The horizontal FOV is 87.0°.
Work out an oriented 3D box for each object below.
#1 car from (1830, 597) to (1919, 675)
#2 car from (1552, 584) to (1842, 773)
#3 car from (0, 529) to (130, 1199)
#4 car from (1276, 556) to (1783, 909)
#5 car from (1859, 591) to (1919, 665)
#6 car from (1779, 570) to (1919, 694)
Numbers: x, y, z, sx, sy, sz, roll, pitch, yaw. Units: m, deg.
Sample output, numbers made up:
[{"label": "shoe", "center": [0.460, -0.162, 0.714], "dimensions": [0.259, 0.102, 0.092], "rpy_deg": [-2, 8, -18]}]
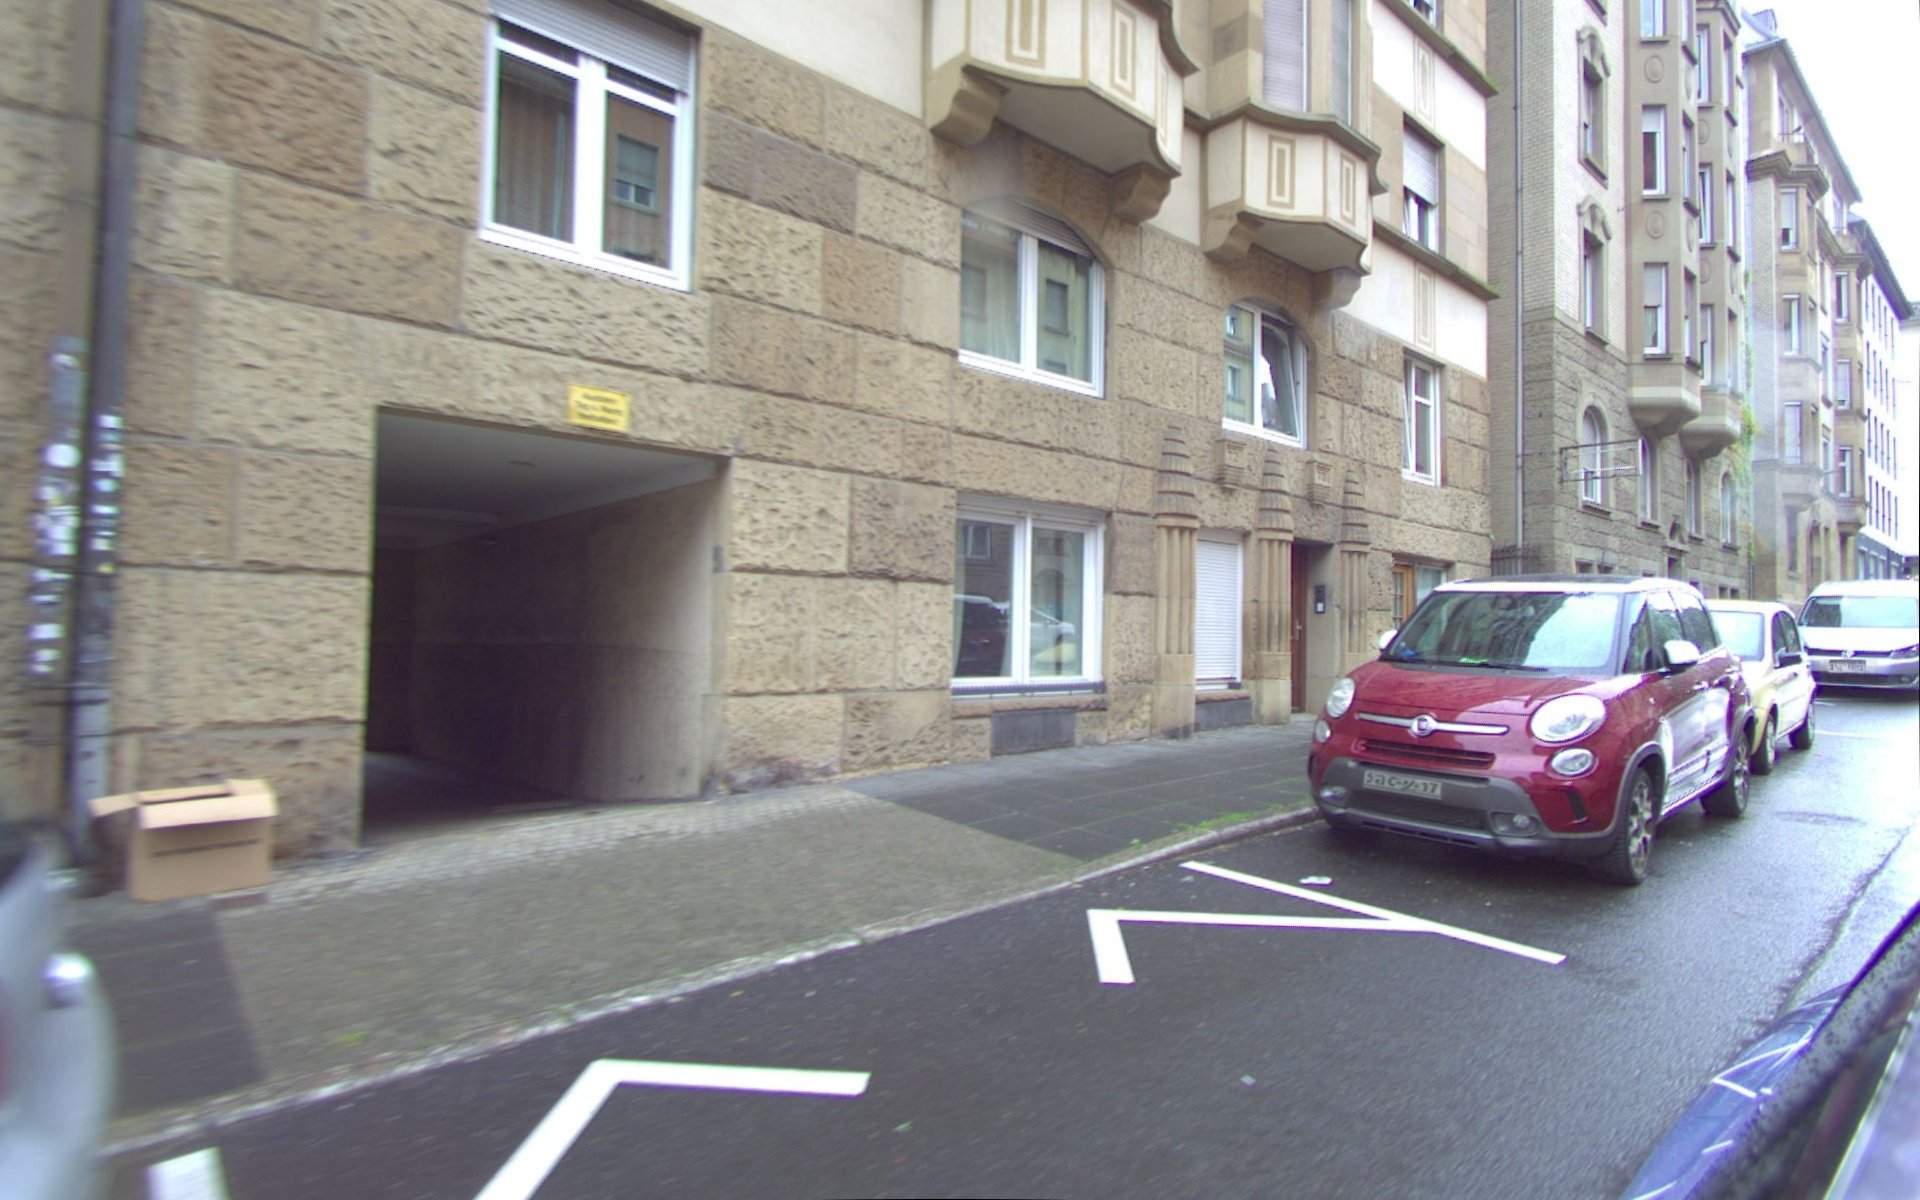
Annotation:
[{"label": "car", "center": [18.527, 0.639, 19.630], "dimensions": [3.912, 1.406, 1.929], "rpy_deg": [0, -1, -41]}, {"label": "car", "center": [7.357, 0.644, 9.994], "dimensions": [3.471, 1.530, 1.630], "rpy_deg": [0, -1, -42]}, {"label": "car", "center": [-2.852, 0.665, 0.732], "dimensions": [3.460, 1.505, 1.597], "rpy_deg": [0, 0, -41]}, {"label": "car", "center": [3.909, 0.588, 6.645], "dimensions": [3.932, 1.621, 1.772], "rpy_deg": [0, 1, -42]}, {"label": "car", "center": [21.712, 0.581, 22.582], "dimensions": [3.987, 1.544, 1.933], "rpy_deg": [0, -1, -41]}, {"label": "car", "center": [14.819, 0.454, 16.344], "dimensions": [3.893, 1.791, 1.809], "rpy_deg": [0, 0, -41]}]
